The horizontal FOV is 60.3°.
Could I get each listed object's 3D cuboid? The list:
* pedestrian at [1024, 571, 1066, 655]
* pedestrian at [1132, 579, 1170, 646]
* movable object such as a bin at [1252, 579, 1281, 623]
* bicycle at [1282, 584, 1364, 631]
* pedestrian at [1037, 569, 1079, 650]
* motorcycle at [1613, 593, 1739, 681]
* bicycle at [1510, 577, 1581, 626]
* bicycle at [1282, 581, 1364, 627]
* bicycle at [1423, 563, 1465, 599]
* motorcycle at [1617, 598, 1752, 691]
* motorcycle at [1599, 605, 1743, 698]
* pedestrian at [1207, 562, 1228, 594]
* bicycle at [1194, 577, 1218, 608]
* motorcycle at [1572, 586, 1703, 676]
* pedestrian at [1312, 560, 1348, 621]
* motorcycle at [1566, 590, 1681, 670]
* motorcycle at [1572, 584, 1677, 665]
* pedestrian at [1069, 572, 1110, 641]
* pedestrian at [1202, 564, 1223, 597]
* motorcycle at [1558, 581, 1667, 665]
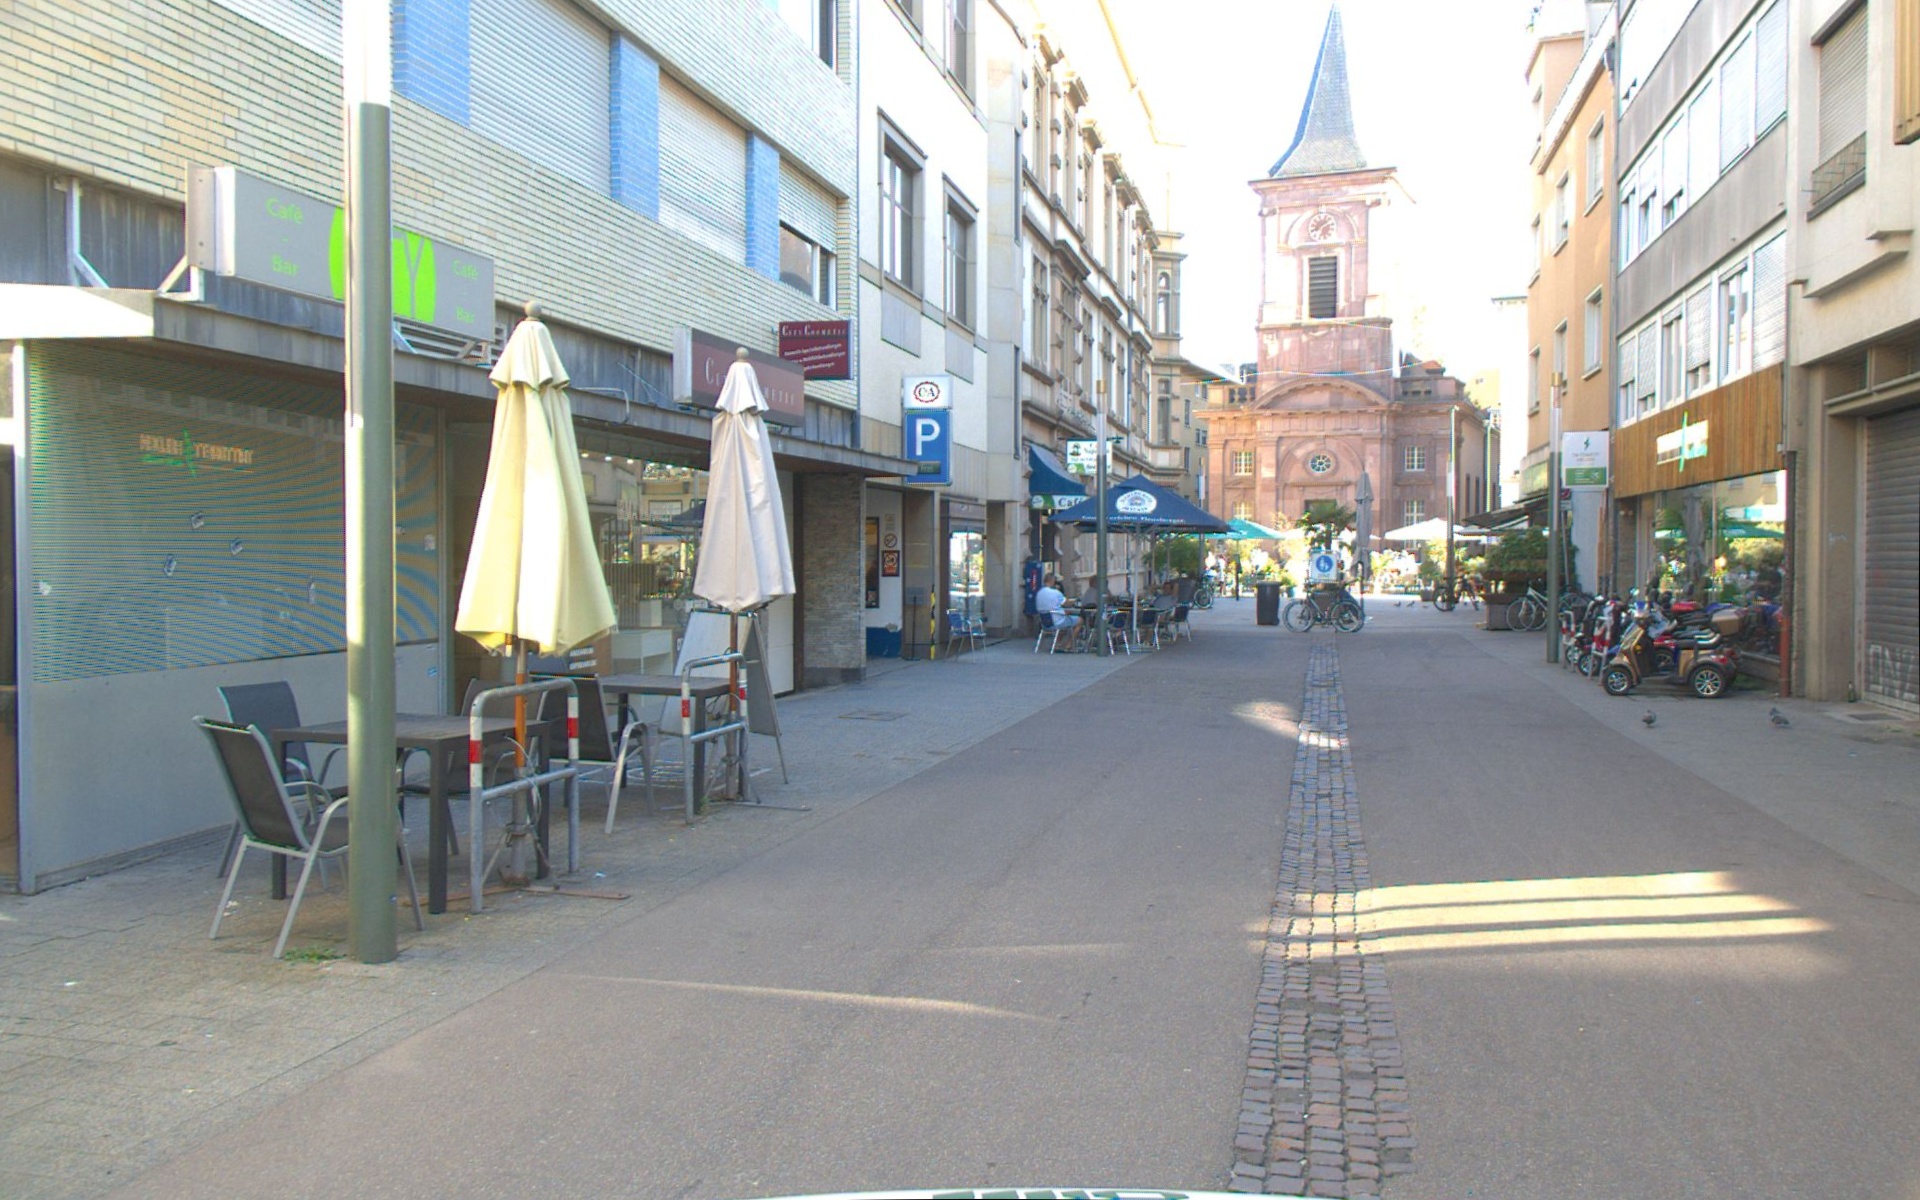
[{"bbox_3d":[1.435,0.205,27.981,0.693,1.392,0.720,0,1,0],"label":"pedestrian"},{"bbox_3d":[3.593,0.231,31.129,0.677,1.236,0.583,0,1,4],"label":"pedestrian"},{"bbox_3d":[7.518,0.021,40.602,0.706,1.093,0.374,0,1,11],"label":"movable object such as a bin"},{"bbox_3d":[8.123,0.168,37.057,1.785,1.022,0.381,0,1,9],"label":"bicycle"},{"bbox_3d":[1.712,0.158,28.965,0.703,1.392,0.710,0,1,0],"label":"pedestrian"},{"bbox_3d":[9.215,0.464,21.299,1.456,1.094,0.411,0,1,31],"label":"motorcycle"},{"bbox_3d":[12.611,0.019,35.637,1.433,1.022,0.573,1,1,20],"label":"bicycle"},{"bbox_3d":[8.211,0.090,37.453,1.785,1.022,0.381,0,1,9],"label":"bicycle"},{"bbox_3d":[18.000,-0.715,61.511,1.561,1.330,0.364,0,1,-17],"label":"bicycle"},{"bbox_3d":[8.883,0.528,20.295,1.488,1.094,0.411,0,1,31],"label":"motorcycle"},{"bbox_3d":[8.433,0.590,19.629,1.535,1.060,0.372,0,1,31],"label":"motorcycle"},{"bbox_3d":[10.152,-0.860,65.244,0.686,1.239,0.720,0,1,18],"label":"pedestrian"},{"bbox_3d":[7.425,-0.234,49.813,0.447,0.864,2.148,0,1,16],"label":"bicycle"},{"bbox_3d":[9.226,0.408,22.536,1.594,1.195,0.479,0,1,31],"label":"motorcycle"},{"bbox_3d":[9.273,-0.246,41.489,0.865,1.489,0.731,0,1,13],"label":"pedestrian"},{"bbox_3d":[9.353,0.413,23.335,1.456,1.094,0.411,0,1,31],"label":"motorcycle"},{"bbox_3d":[10.062,0.357,25.055,1.455,1.202,0.412,0,1,28],"label":"motorcycle"},{"bbox_3d":[2.397,0.120,30.722,0.749,1.254,0.832,0,1,4],"label":"pedestrian"},{"bbox_3d":[9.748,-0.765,63.868,0.686,1.239,0.720,0,1,18],"label":"pedestrian"},{"bbox_3d":[9.542,0.326,24.195,1.455,1.202,0.412,0,1,28],"label":"motorcycle"}]
